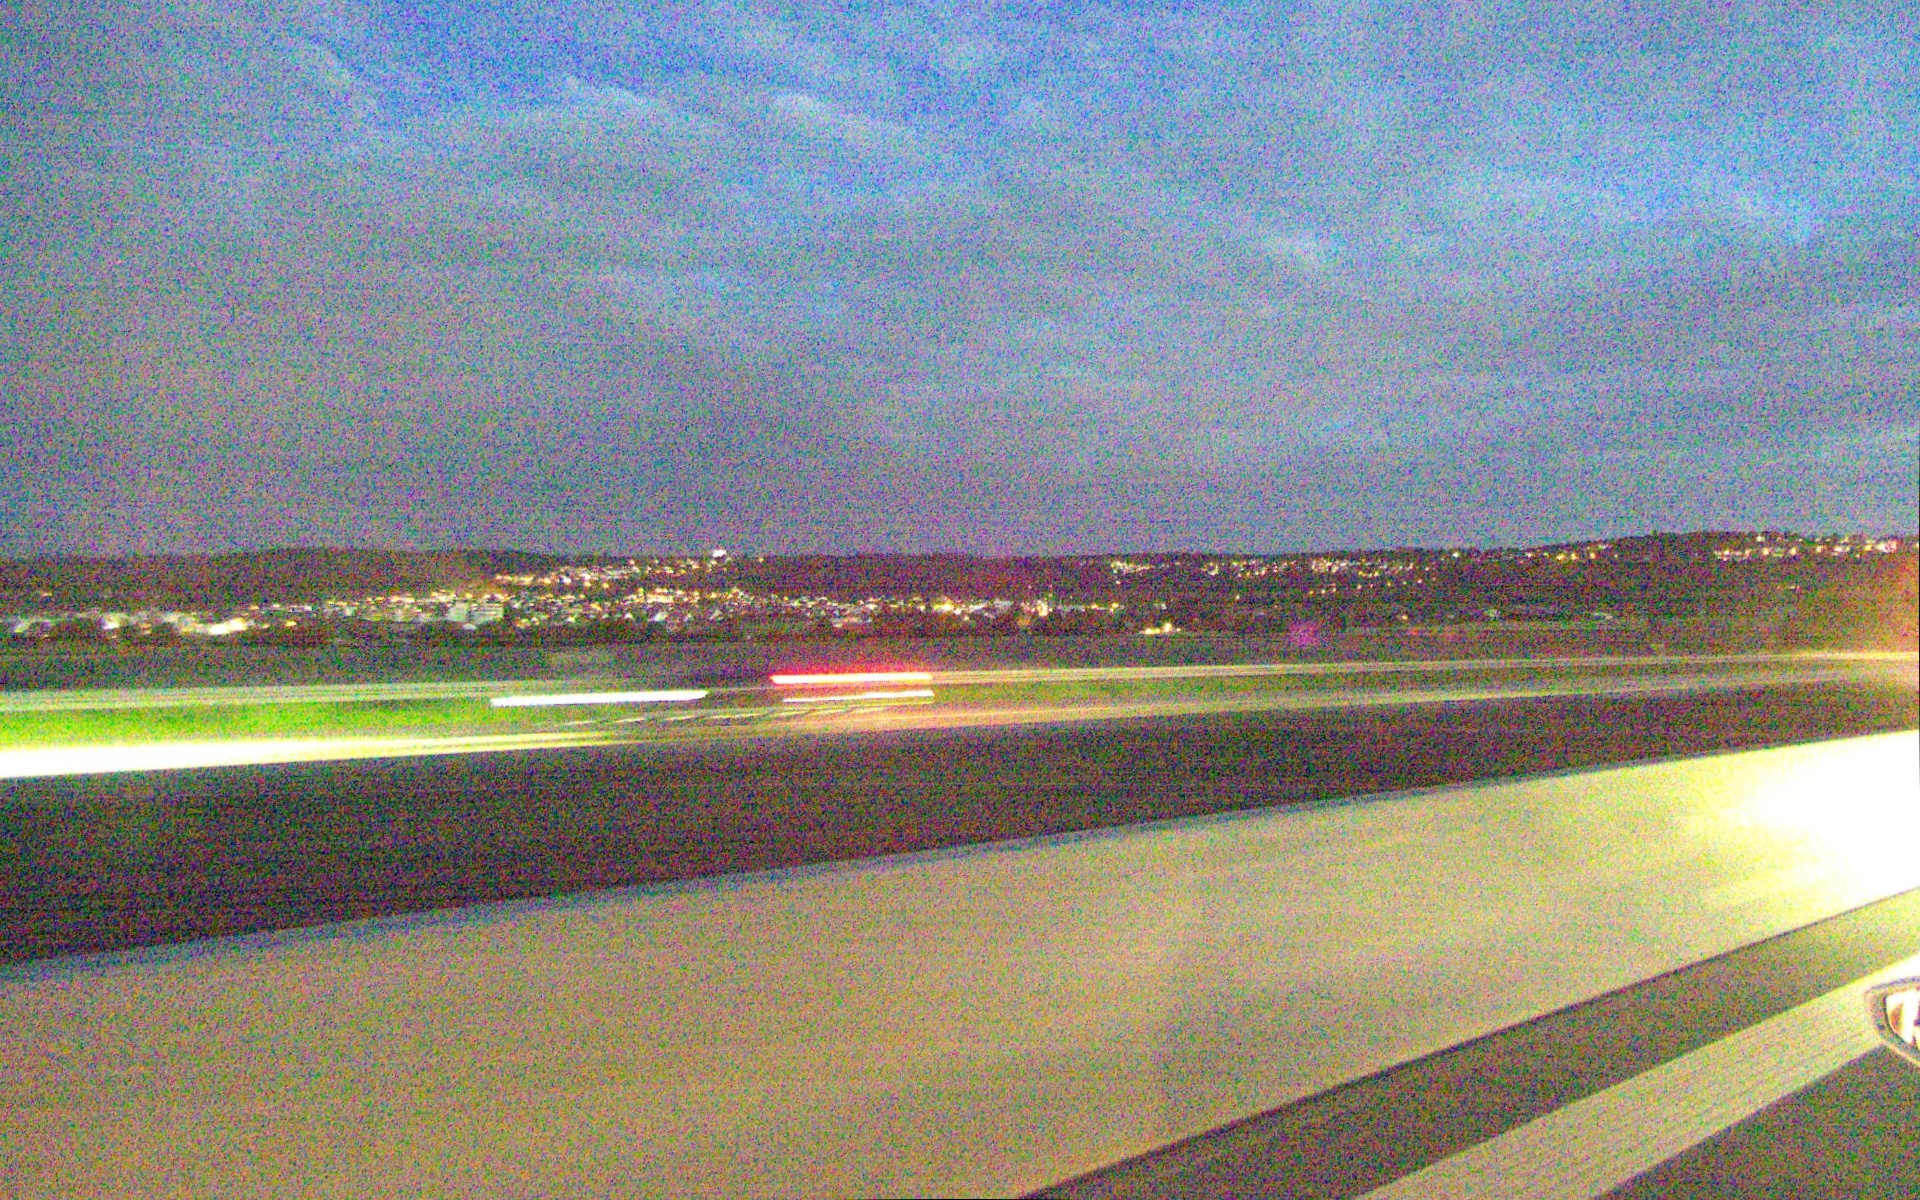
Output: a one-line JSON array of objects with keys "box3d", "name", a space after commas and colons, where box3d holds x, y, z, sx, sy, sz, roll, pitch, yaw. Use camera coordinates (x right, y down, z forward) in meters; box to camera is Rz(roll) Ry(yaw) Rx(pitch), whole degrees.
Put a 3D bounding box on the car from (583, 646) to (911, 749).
[{"box3d": [-3.469, 1.527, 16.726, 4.987, 1.497, 1.984, 2, -4, -31], "name": "car"}]
